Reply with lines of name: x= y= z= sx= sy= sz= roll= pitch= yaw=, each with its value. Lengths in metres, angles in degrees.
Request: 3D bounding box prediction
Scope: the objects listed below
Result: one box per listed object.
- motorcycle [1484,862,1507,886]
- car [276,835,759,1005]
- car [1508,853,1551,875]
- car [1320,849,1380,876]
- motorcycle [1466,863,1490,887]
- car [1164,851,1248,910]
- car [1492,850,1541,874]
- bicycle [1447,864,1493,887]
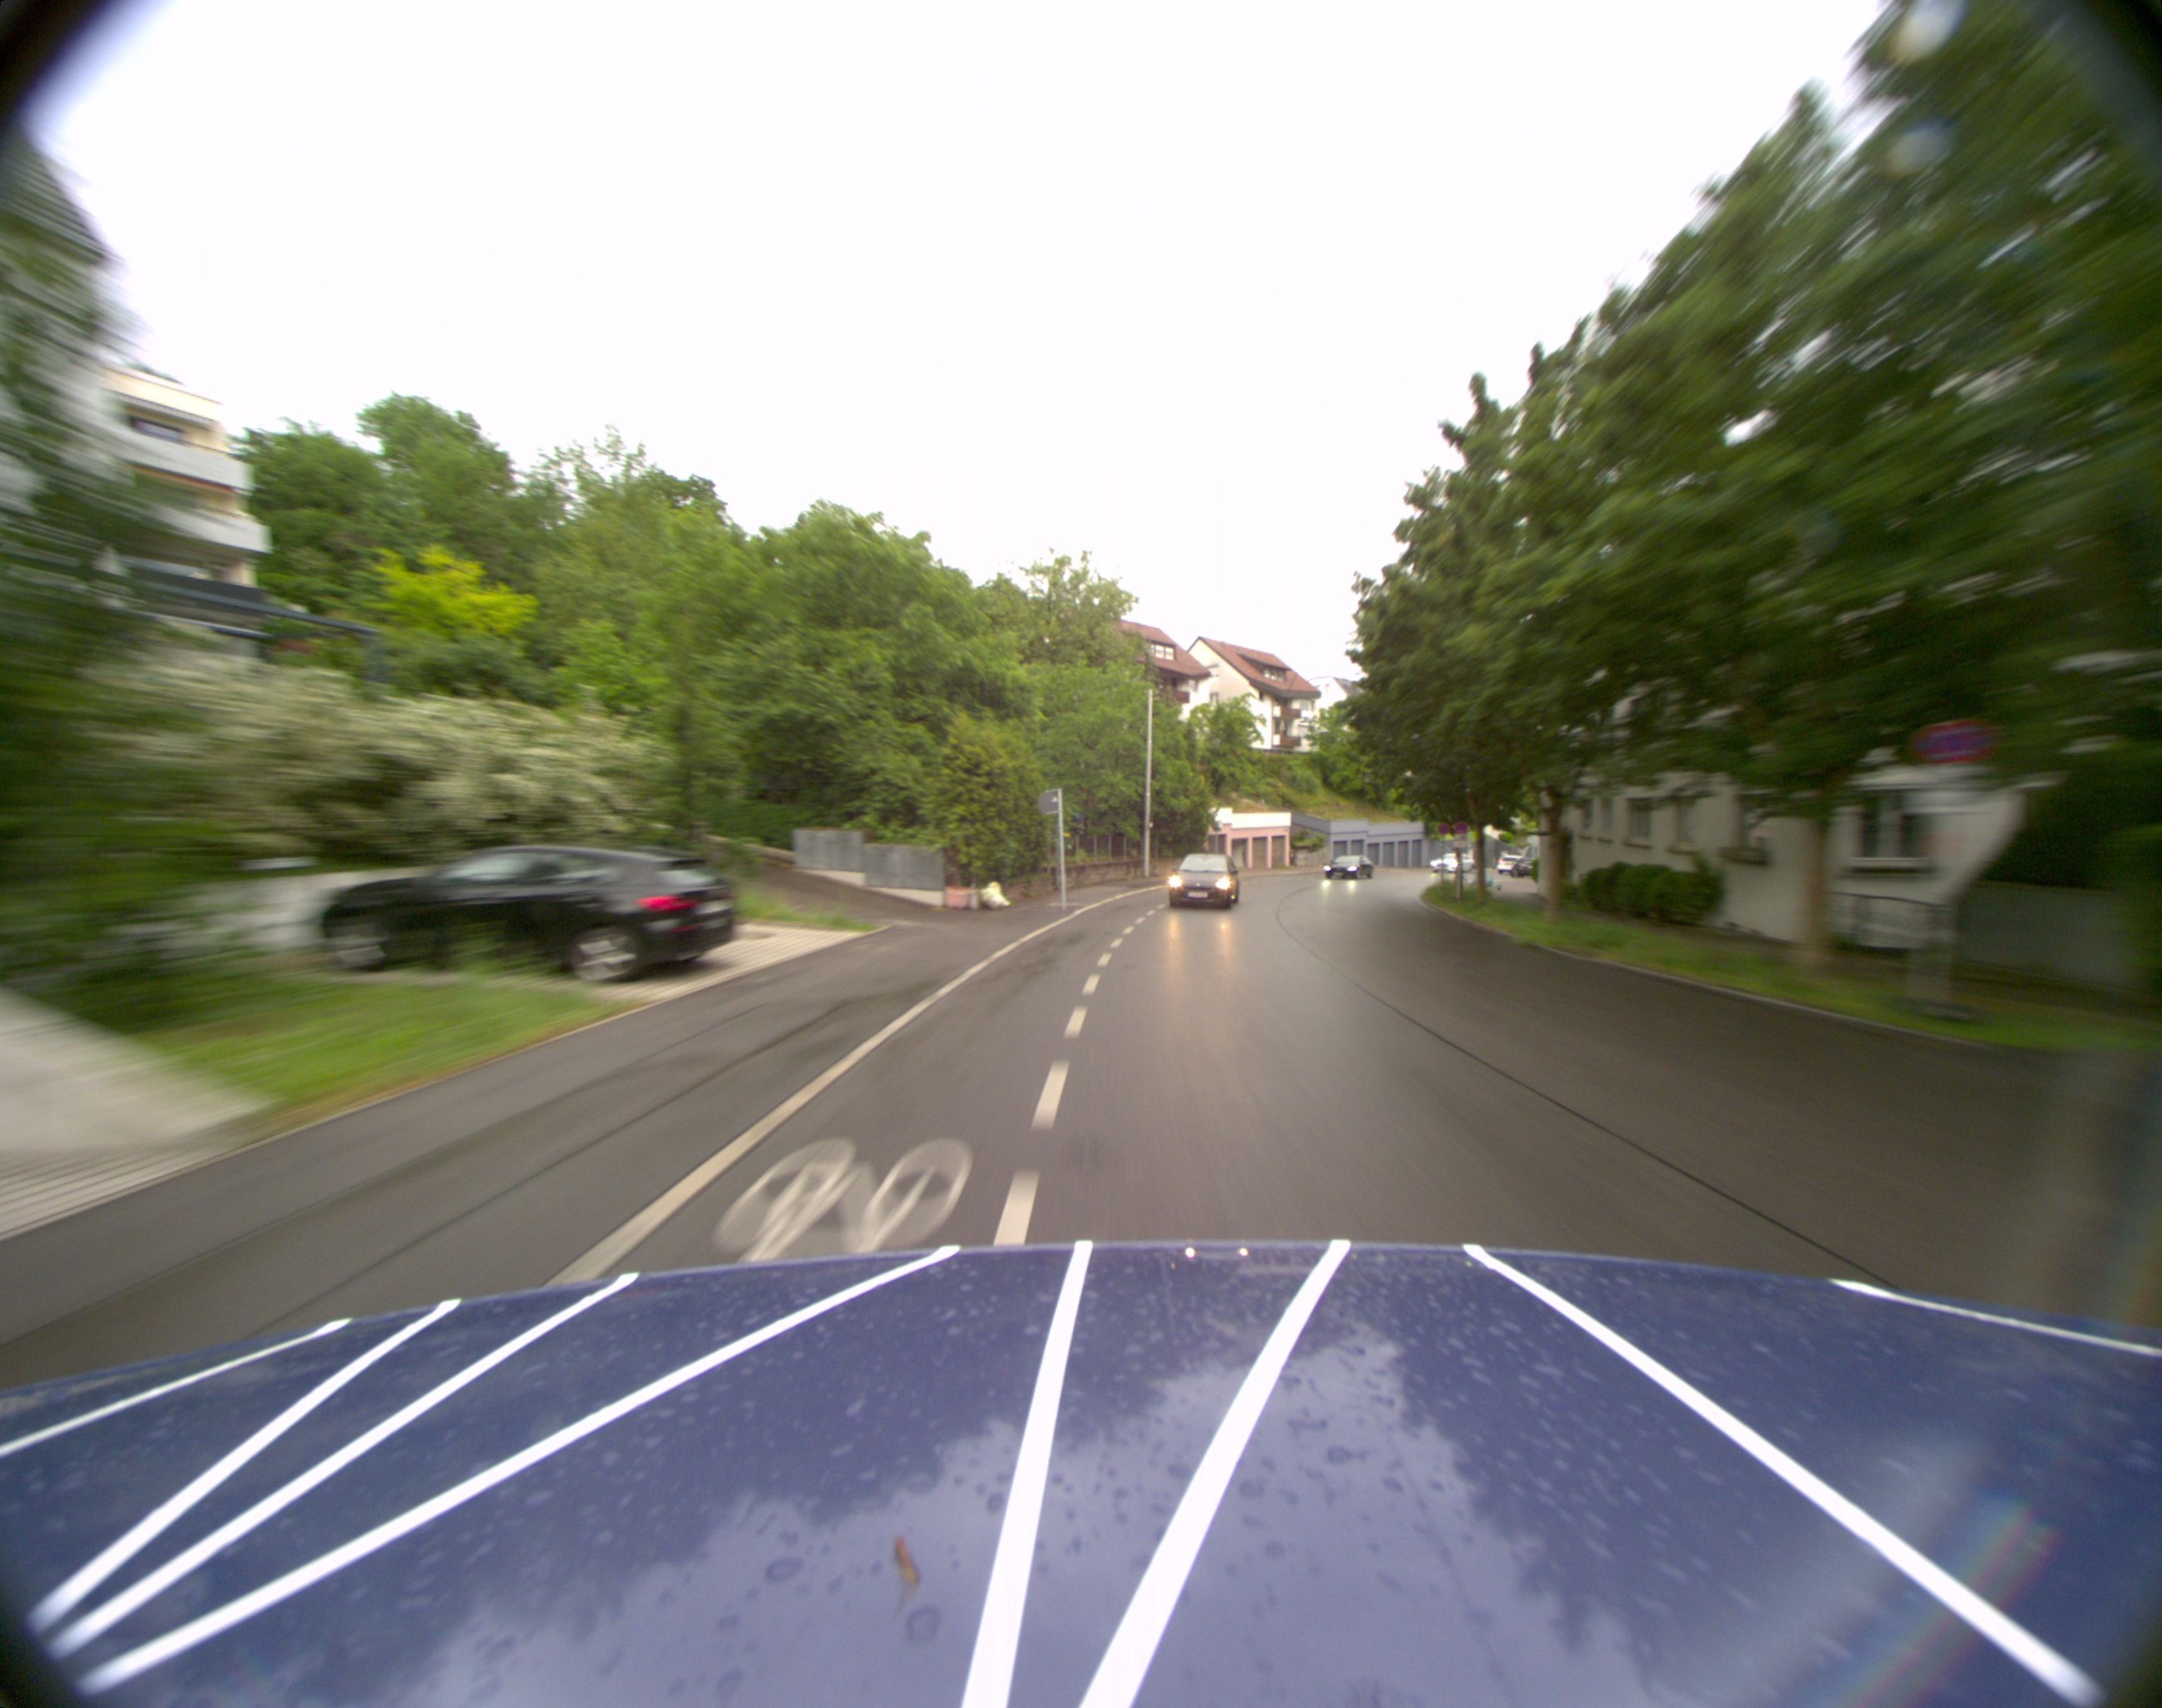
motorcycle: x=21.790 y=1.049 z=39.908 sx=1.308 sy=1.221 sz=0.552 roll=0 pitch=2 yaw=-38
car: x=-6.125 y=0.652 z=8.604 sx=4.179 sy=1.500 sz=1.740 roll=3 pitch=2 yaw=1
car: x=32.332 y=0.667 z=54.863 sx=1.995 sy=1.383 sz=4.203 roll=2 pitch=2 yaw=21
car: x=15.973 y=0.487 z=45.033 sx=1.994 sy=1.502 sz=4.220 roll=1 pitch=0 yaw=40
motorcycle: x=20.914 y=1.087 z=40.042 sx=1.401 sy=1.197 sz=0.557 roll=0 pitch=2 yaw=-38
car: x=3.633 y=0.660 z=21.583 sx=1.695 sy=1.456 sz=4.005 roll=1 pitch=1 yaw=19
car: x=36.320 y=0.641 z=63.317 sx=4.705 sy=1.778 sz=1.984 roll=2 pitch=3 yaw=-42
bicycle: x=19.387 y=1.063 z=37.884 sx=1.964 sy=1.054 sz=0.755 roll=2 pitch=1 yaw=24
